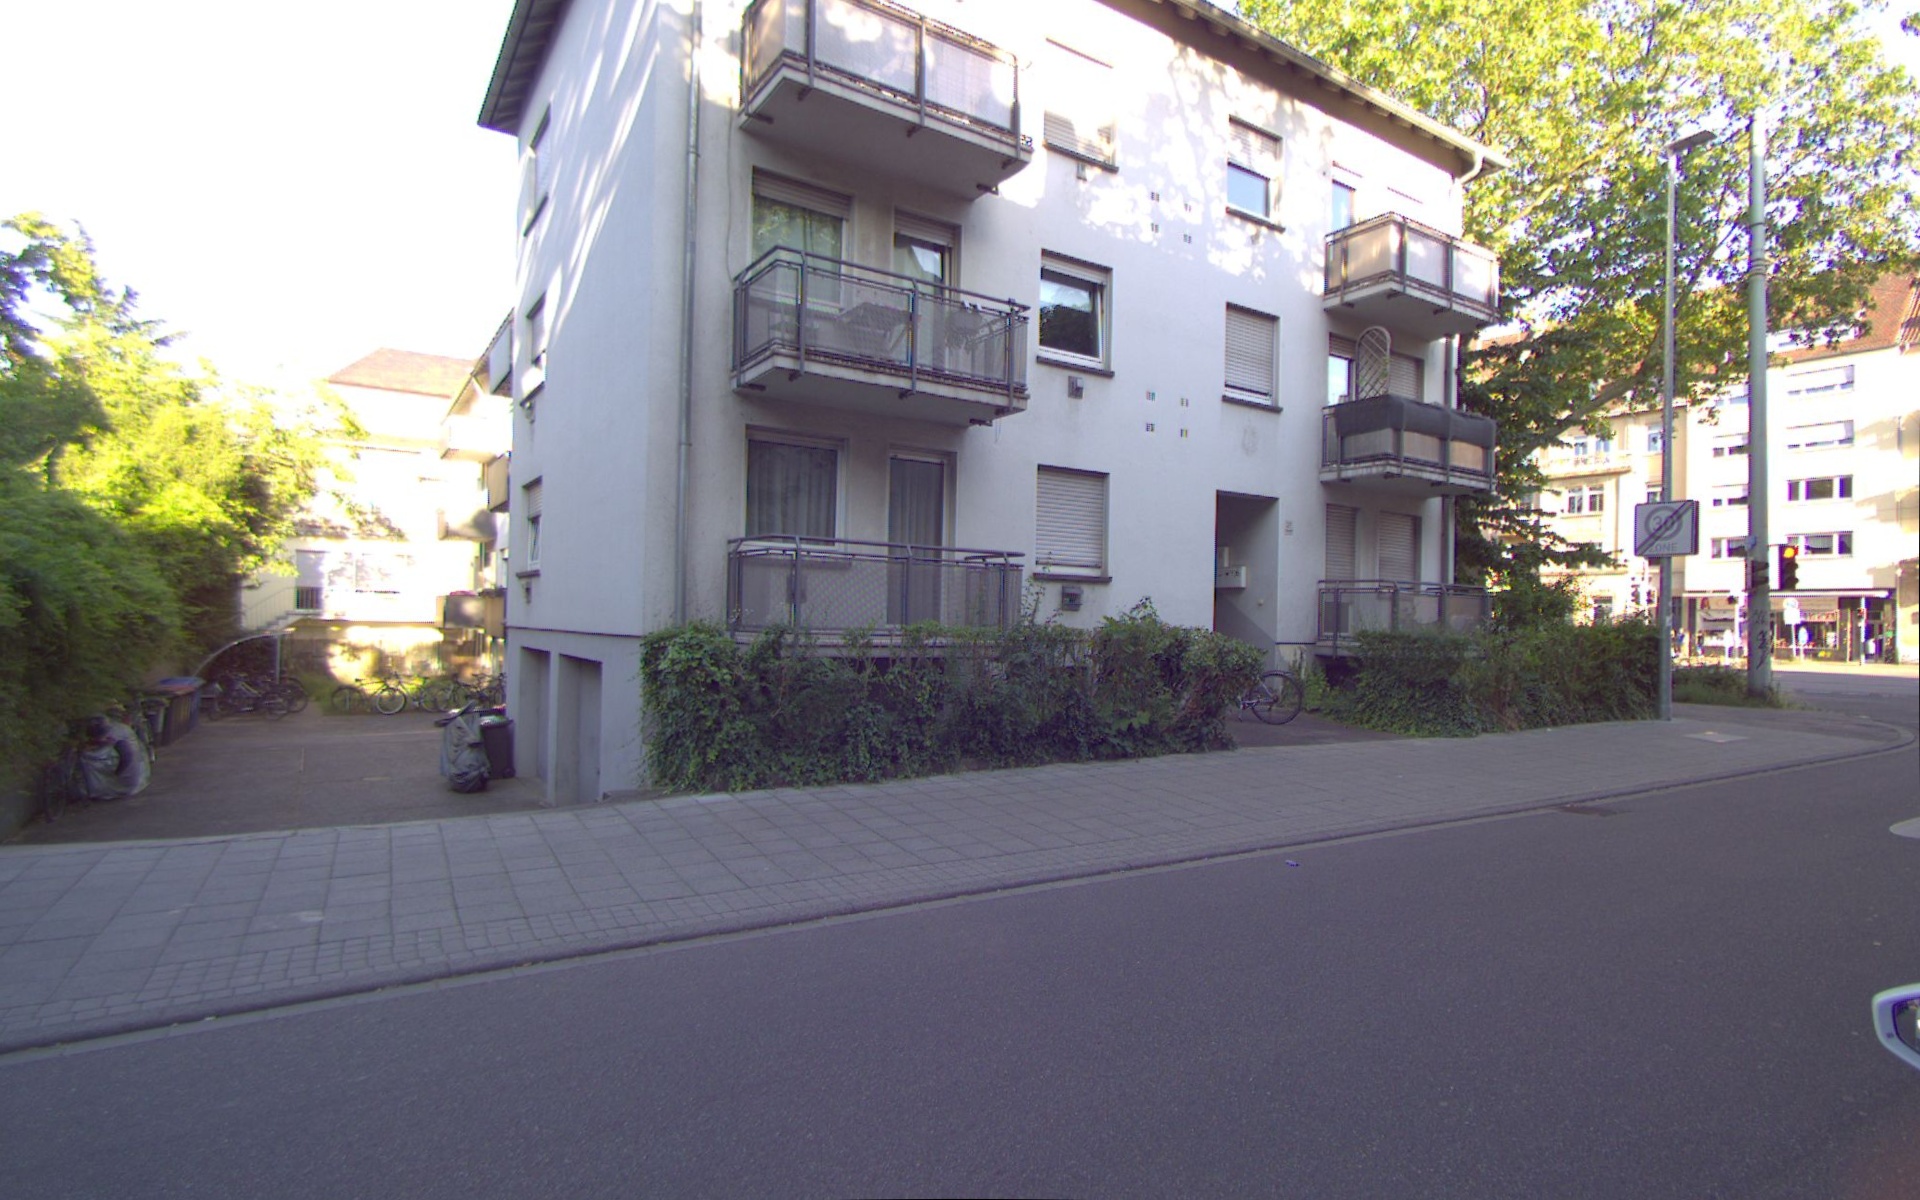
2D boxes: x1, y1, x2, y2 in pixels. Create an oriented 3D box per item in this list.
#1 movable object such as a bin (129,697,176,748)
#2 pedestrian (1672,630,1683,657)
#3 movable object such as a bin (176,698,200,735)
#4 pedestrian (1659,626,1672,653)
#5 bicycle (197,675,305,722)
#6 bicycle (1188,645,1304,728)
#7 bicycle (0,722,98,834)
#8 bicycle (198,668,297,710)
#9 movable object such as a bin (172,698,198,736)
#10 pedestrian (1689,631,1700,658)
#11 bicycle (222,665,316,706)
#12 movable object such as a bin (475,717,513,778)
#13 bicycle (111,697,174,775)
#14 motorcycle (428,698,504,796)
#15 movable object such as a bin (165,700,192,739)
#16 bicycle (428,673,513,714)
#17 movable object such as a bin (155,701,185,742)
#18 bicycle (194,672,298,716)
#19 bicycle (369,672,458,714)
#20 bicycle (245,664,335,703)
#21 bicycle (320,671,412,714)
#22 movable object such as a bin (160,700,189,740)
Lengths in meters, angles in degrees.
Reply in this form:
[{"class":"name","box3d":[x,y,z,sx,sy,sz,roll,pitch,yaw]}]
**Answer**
[{"class":"movable object such as a bin","box3d":[-14.960,2.259,18.622,0.570,0.891,0.491,2,-4,-30]},{"class":"pedestrian","box3d":[41.915,2.548,58.691,0.501,1.531,0.535,0,-1,33]},{"class":"movable object such as a bin","box3d":[-16.612,2.509,21.620,0.342,0.768,0.361,2,-4,-30]},{"class":"pedestrian","box3d":[40.629,2.266,57.848,0.558,1.531,0.499,0,-1,41]},{"class":"bicycle","box3d":[-17.286,2.406,24.551,2.045,1.034,0.637,4,0,-30]},{"class":"bicycle","box3d":[3.873,1.152,13.616,1.433,0.988,0.407,3,0,21]},{"class":"bicycle","box3d":[-10.949,2.089,12.105,0.509,1.033,1.922,3,-1,-32]},{"class":"bicycle","box3d":[-18.870,2.370,26.655,2.045,1.034,0.611,4,0,-30]},{"class":"movable object such as a bin","box3d":[-16.413,2.478,21.285,0.362,0.768,0.361,2,-4,-30]},{"class":"pedestrian","box3d":[42.049,2.519,57.481,0.467,1.531,0.429,0,-1,41]},{"class":"bicycle","box3d":[-19.005,2.371,27.692,2.045,1.034,0.611,4,0,-30]},{"class":"movable object such as a bin","box3d":[-7.510,2.364,16.183,0.428,0.899,0.720,1,-2,-34]},{"class":"bicycle","box3d":[-13.230,2.170,16.294,0.509,1.033,1.922,3,-1,-32]},{"class":"motorcycle","box3d":[-7.402,2.162,15.030,0.751,1.268,1.578,1,-2,-36]},{"class":"movable object such as a bin","box3d":[-16.023,2.445,20.595,0.371,0.768,0.361,2,-4,-30]},{"class":"bicycle","box3d":[-13.575,2.596,27.869,2.045,1.034,0.637,4,0,-30]},{"class":"movable object such as a bin","box3d":[-15.640,2.404,19.894,0.393,0.784,0.361,2,-4,-30]},{"class":"bicycle","box3d":[-18.038,2.388,25.429,2.045,1.034,0.568,4,0,-30]},{"class":"bicycle","box3d":[-14.757,2.514,27.177,2.045,1.034,0.637,4,0,-30]},{"class":"bicycle","box3d":[-19.028,2.375,28.565,2.045,1.034,0.564,4,0,-30]},{"class":"bicycle","box3d":[-15.704,2.454,26.616,2.045,1.034,0.637,4,0,-30]},{"class":"movable object such as a bin","box3d":[-15.827,2.411,20.241,0.377,0.784,0.361,2,-4,-30]}]
